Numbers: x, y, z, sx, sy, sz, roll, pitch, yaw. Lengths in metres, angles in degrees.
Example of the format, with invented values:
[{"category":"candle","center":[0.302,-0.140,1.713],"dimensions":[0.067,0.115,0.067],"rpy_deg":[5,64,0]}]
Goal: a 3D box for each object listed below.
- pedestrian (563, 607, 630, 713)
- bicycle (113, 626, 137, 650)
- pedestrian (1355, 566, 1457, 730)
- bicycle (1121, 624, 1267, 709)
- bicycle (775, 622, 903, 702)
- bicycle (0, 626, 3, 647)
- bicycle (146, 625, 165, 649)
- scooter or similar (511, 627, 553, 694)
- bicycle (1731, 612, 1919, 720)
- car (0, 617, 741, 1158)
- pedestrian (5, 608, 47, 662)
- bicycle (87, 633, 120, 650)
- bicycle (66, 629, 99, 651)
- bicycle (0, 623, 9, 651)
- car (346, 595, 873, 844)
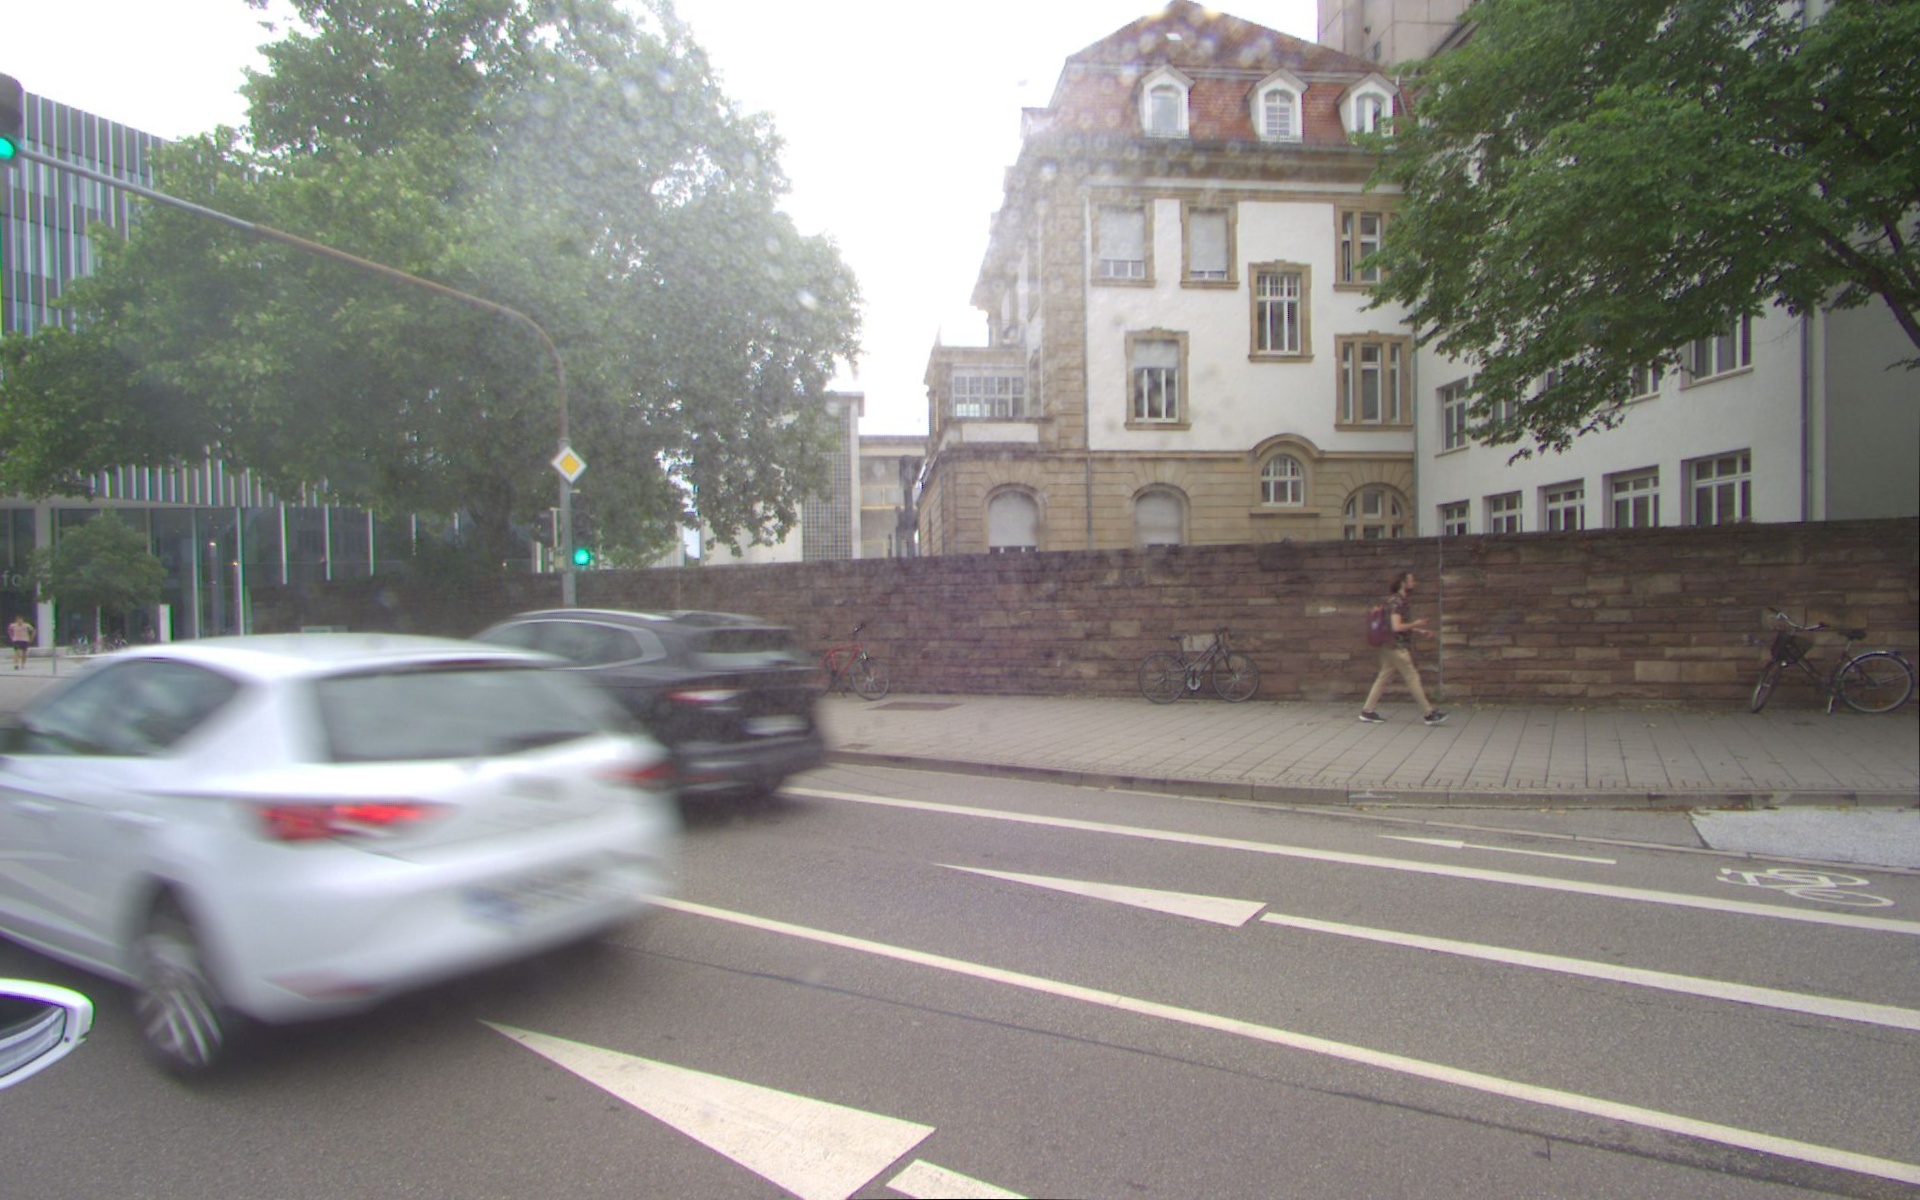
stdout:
[{"category":"pedestrian","center":[-5.735,0.925,15.800],"dimensions":[0.627,1.584,0.658],"rpy_deg":[0,5,32]},{"category":"bicycle","center":[-40.477,1.840,48.561],"dimensions":[0.802,1.070,1.933],"rpy_deg":[-2,2,-38]},{"category":"pedestrian","center":[5.260,0.540,11.806],"dimensions":[1.018,1.846,0.629],"rpy_deg":[0,2,32]},{"category":"bicycle","center":[3.324,0.921,14.162],"dimensions":[1.934,1.088,0.941],"rpy_deg":[-1,2,17]},{"category":"bicycle","center":[-1.972,0.977,16.298],"dimensions":[1.923,1.190,0.802],"rpy_deg":[0,3,27]},{"category":"bicycle","center":[-48.435,1.863,49.938],"dimensions":[0.613,1.060,1.696],"rpy_deg":[-2,2,-31]},{"category":"bicycle","center":[-39.226,1.785,48.840],"dimensions":[0.616,1.070,1.933],"rpy_deg":[-2,2,-38]},{"category":"scooter or similar","center":[-8.362,1.156,19.545],"dimensions":[0.427,1.195,1.693],"rpy_deg":[-3,2,-33]},{"category":"bicycle","center":[10.176,0.738,11.508],"dimensions":[1.889,1.143,0.849],"rpy_deg":[-1,2,17]},{"category":"car","center":[-3.018,0.835,4.507],"dimensions":[3.814,1.482,1.779],"rpy_deg":[-1,-1,31]},{"category":"pedestrian","center":[-32.187,1.199,34.503],"dimensions":[0.756,1.789,0.845],"rpy_deg":[0,2,32]},{"category":"bicycle","center":[-41.613,2.015,48.683],"dimensions":[0.510,0.726,1.525],"rpy_deg":[-1,1,-11]},{"category":"bicycle","center":[-42.438,1.935,48.453],"dimensions":[0.686,0.959,1.975],"rpy_deg":[-2,1,-27]},{"category":"bicycle","center":[-46.272,1.784,48.205],"dimensions":[0.522,1.270,1.651],"rpy_deg":[-3,2,-39]},{"category":"car","center":[-3.093,0.851,8.597],"dimensions":[4.425,1.645,1.904],"rpy_deg":[-1,-2,31]}]
